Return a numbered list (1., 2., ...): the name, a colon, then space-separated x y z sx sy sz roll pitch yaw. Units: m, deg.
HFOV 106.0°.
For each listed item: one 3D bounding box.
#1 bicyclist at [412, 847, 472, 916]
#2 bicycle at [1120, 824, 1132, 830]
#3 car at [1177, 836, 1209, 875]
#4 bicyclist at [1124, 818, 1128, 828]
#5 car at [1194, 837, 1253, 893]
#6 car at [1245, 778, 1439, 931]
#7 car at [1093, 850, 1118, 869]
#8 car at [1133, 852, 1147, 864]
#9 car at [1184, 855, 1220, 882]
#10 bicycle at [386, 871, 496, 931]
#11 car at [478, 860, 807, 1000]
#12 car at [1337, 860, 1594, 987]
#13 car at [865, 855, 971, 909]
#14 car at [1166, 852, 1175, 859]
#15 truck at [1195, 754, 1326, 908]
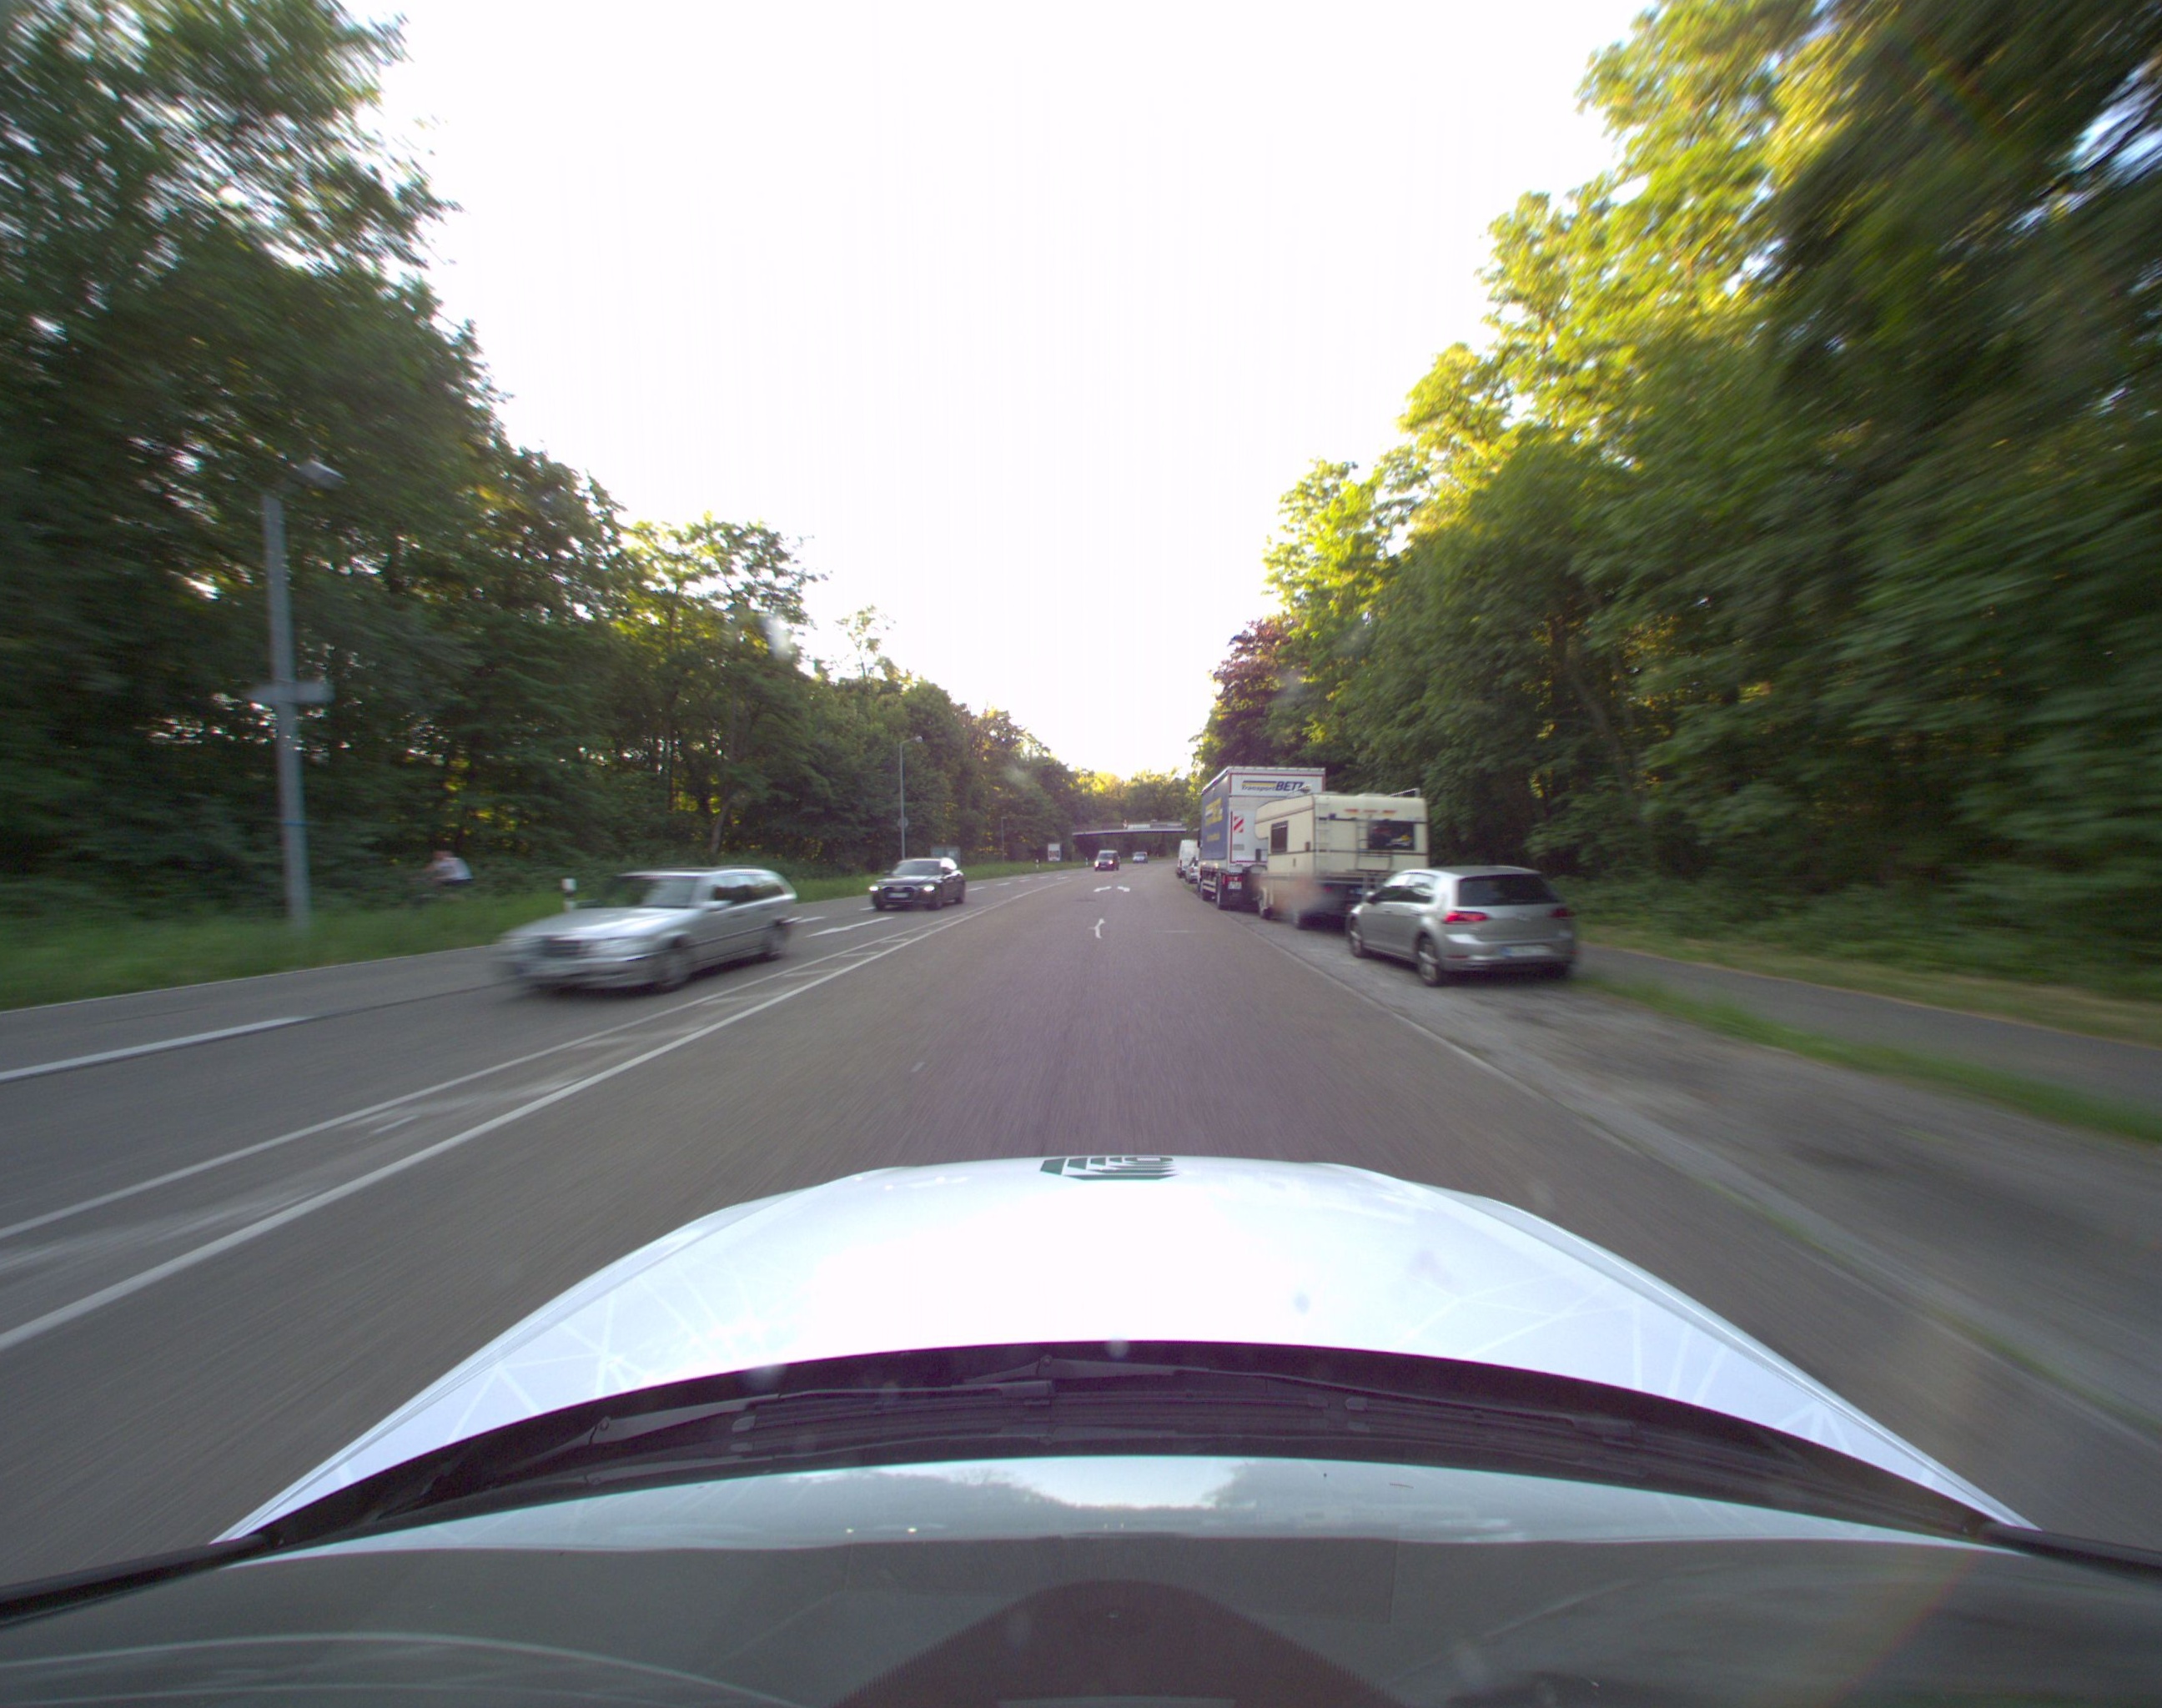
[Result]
1. bicyclist: -14.529 0.601 18.523 0.617 1.511 0.848 -2 1 1
2. bicycle: 7.311 -4.446 132.715 1.833 0.949 0.552 0 0 10
3. car: 7.738 0.067 56.520 1.954 2.512 6.025 1 0 6
4. bicyclist: 7.315 -4.990 132.710 0.660 1.581 0.549 0 0 10
5. car: 6.024 0.442 34.981 1.984 2.189 4.934 1 0 4
6. car: 5.507 0.018 18.255 2.401 2.858 5.930 0 0 0
7. car: 2.372 0.515 76.946 1.833 1.800 4.759 0 0 9
8. car: 9.009 0.565 125.015 1.833 1.735 4.010 0 0 8
9. car: 6.721 0.778 45.697 1.676 1.373 4.276 1 0 4
10. bicycle: -14.513 1.032 18.562 0.627 1.217 2.262 -2 0 2
11. car: -5.373 0.821 10.781 1.712 1.397 4.380 -1 0 4
12. car: 5.076 0.817 11.431 1.693 1.406 4.075 -1 0 0
13. car: -4.761 0.764 24.541 1.883 1.440 4.776 0 0 5
14. car: 21.498 0.358 194.823 1.881 1.447 4.120 -1 0 9
15. truck: 5.397 -0.617 26.228 2.646 4.027 9.732 -1 0 4
